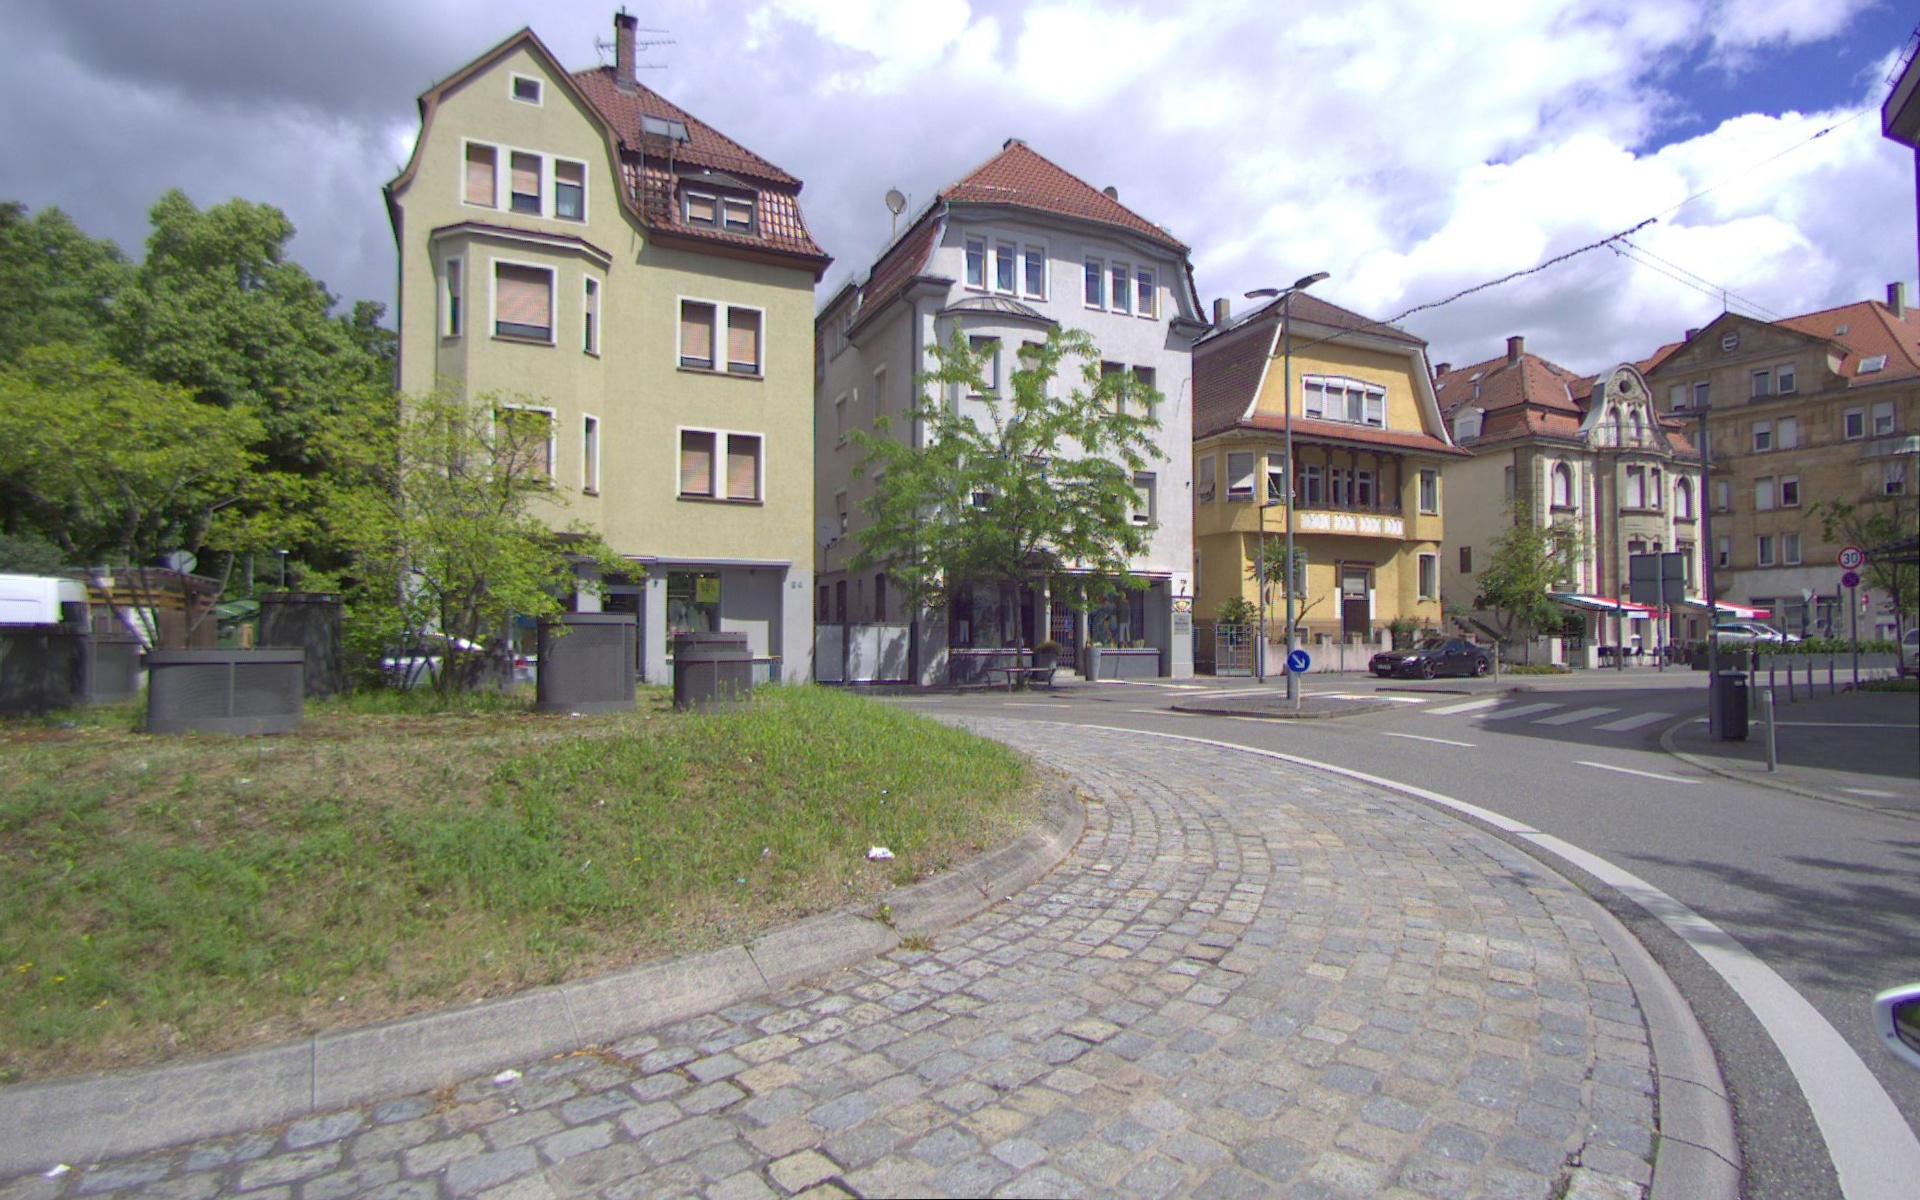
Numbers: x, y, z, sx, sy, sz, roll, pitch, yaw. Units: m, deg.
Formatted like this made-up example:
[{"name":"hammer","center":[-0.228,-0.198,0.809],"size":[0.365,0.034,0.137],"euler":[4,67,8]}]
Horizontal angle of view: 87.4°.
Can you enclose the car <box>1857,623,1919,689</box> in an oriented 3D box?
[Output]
[{"name":"car","center":[27.311,1.556,27.925],"size":[4.170,1.753,1.822],"euler":[1,-3,-21]}]

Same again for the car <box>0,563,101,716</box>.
[{"name":"car","center":[-18.806,0.673,17.228],"size":[5.858,2.641,1.959],"euler":[1,-1,-29]}]

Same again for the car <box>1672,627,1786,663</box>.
[{"name":"car","center":[39.872,2.289,52.186],"size":[1.983,1.799,4.382],"euler":[1,-2,-39]}]

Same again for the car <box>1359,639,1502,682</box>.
[{"name":"car","center":[15.120,1.917,32.280],"size":[4.349,1.261,1.706],"euler":[0,-1,-23]}]

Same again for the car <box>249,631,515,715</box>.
[{"name":"car","center":[-10.138,1.242,17.986],"size":[3.946,1.372,1.705],"euler":[1,-2,-26]}]
